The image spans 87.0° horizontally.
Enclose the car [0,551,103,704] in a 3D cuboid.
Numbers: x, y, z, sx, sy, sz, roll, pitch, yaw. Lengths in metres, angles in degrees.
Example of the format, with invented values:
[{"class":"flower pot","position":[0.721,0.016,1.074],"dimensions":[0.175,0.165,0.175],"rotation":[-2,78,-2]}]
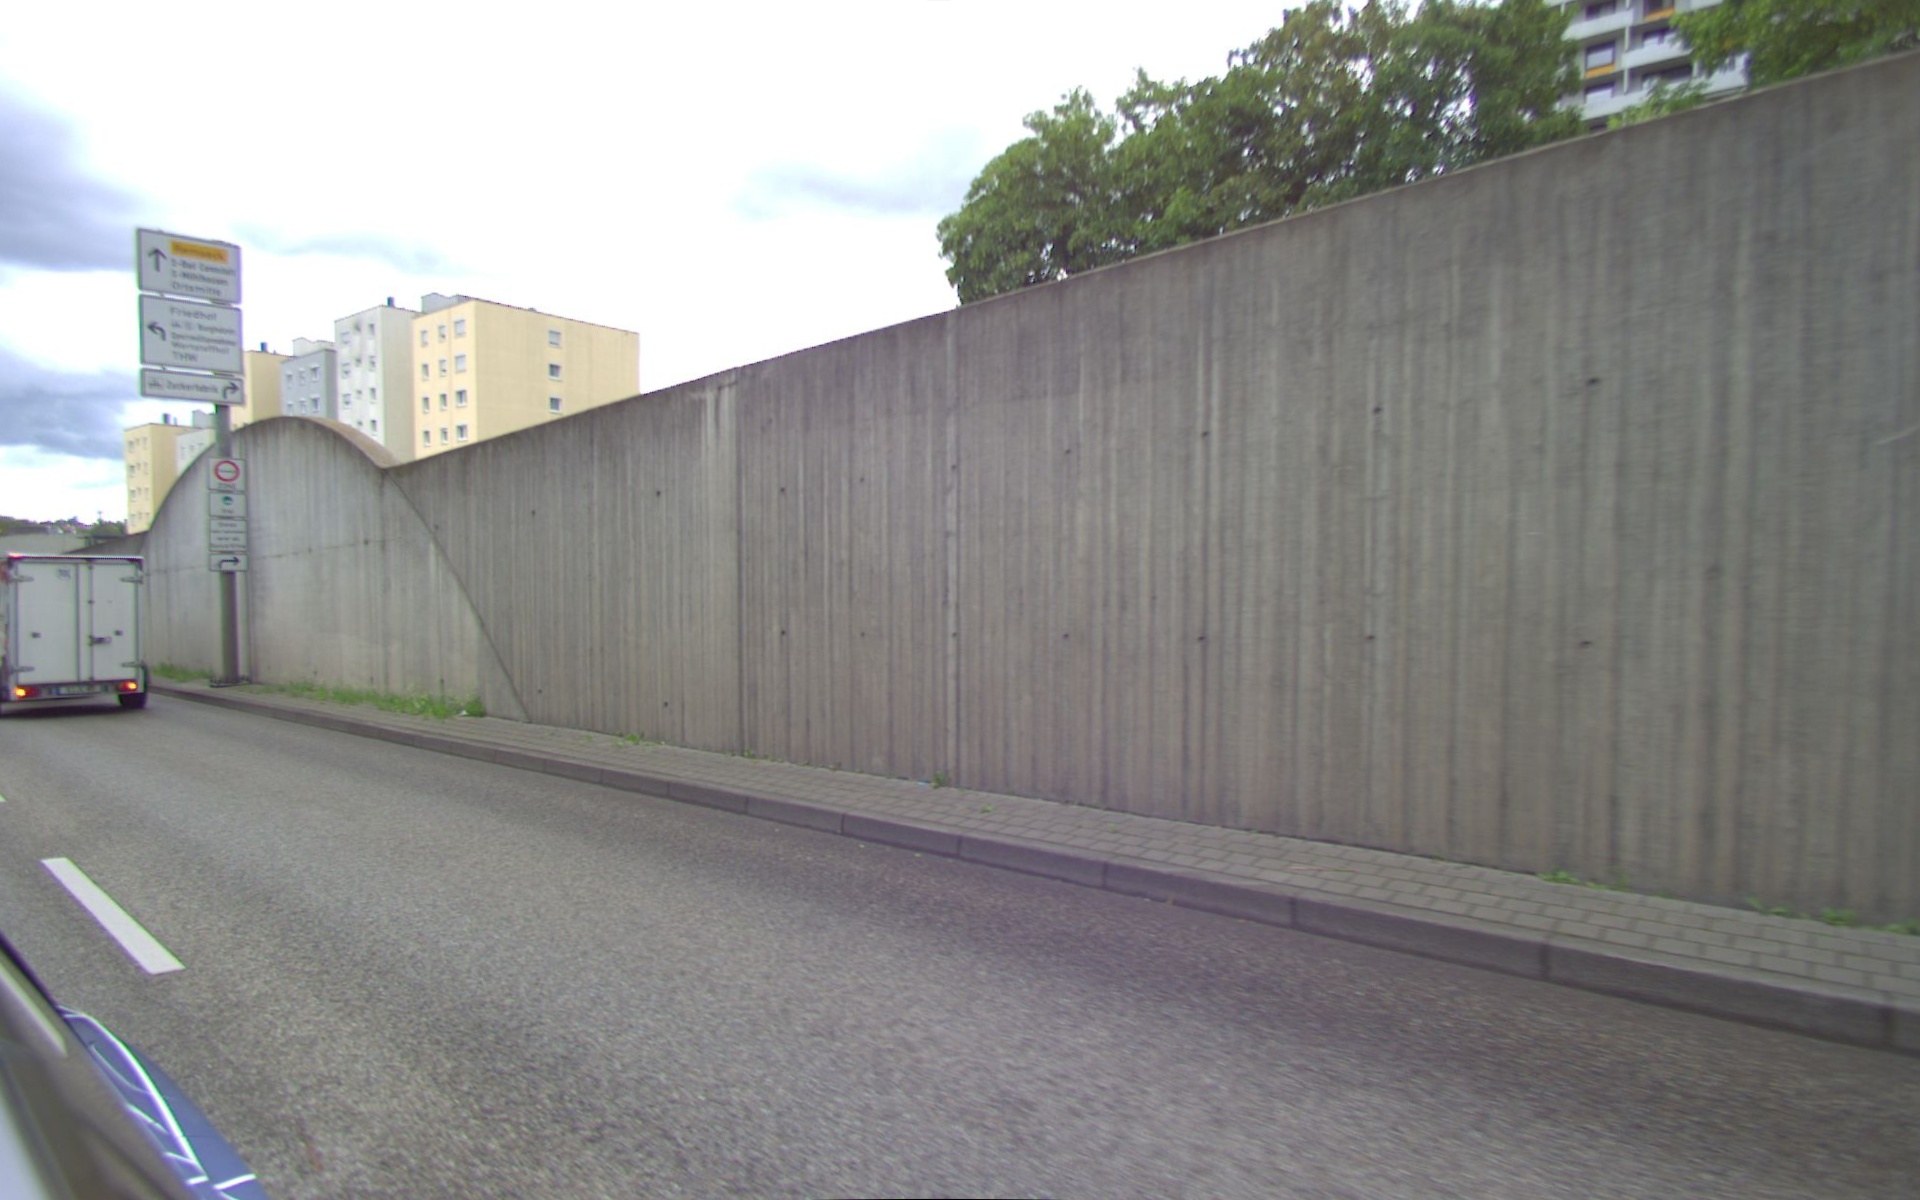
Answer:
[{"class":"car","position":[-19.201,0.538,20.231],"dimensions":[7.413,2.650,2.088],"rotation":[-1,-1,41]}]

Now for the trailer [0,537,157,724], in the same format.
[{"class":"trailer","position":[-14.783,0.465,16.350],"dimensions":[4.369,2.650,2.088],"rotation":[-1,-1,41]}]
